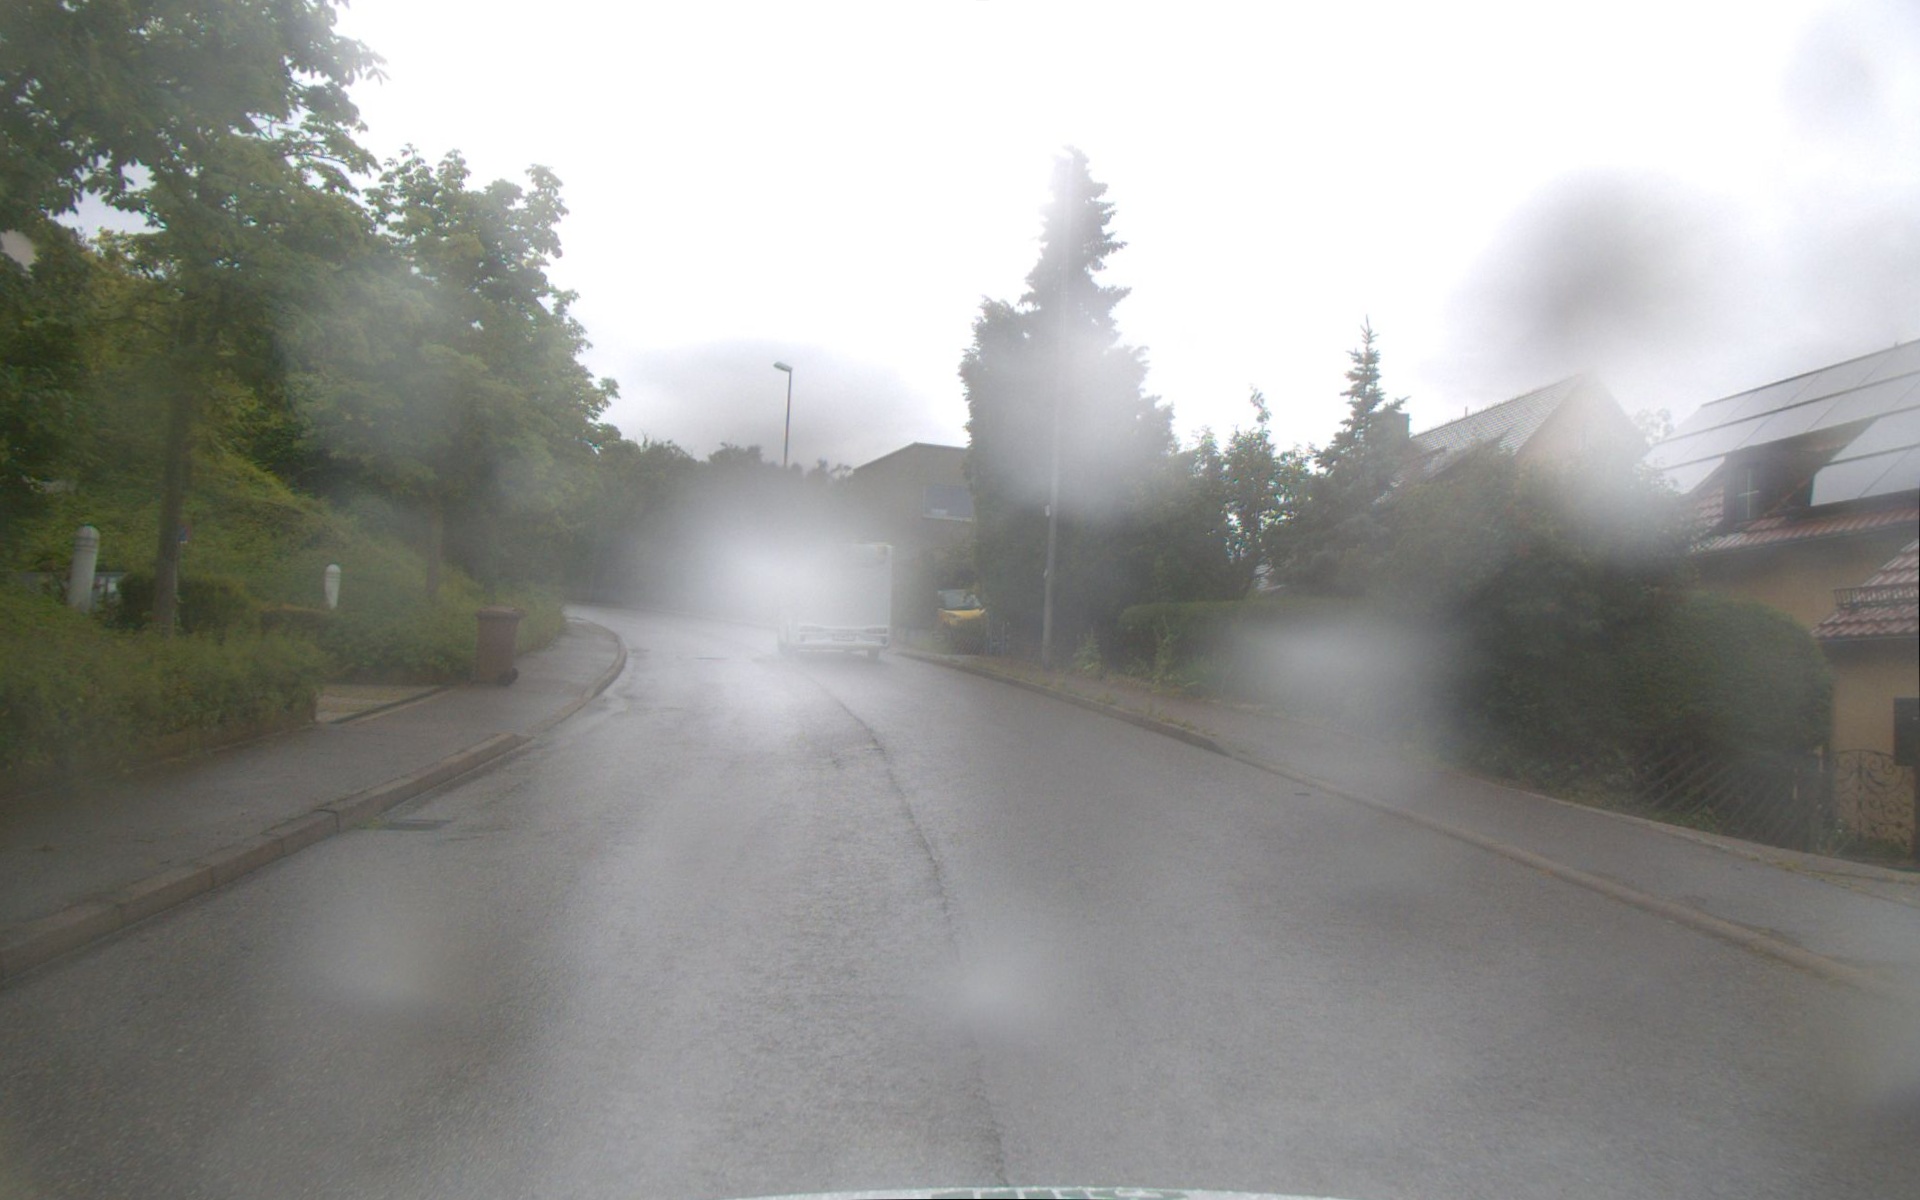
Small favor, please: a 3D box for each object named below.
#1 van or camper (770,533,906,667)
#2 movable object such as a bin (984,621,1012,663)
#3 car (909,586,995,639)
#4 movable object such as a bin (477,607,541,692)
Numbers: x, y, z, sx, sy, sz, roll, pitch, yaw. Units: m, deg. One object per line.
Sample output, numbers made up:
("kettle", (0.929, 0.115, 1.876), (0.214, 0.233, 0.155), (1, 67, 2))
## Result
("van or camper", (-3.080, 0.029, 40.278), (2.495, 2.976, 5.930), (1, -1, -12))
("movable object such as a bin", (0.947, 1.049, 41.278), (0.496, 0.986, 0.592), (5, -1, -14))
("car", (-0.291, 0.390, 53.061), (1.605, 1.519, 3.406), (-4, 1, -21))
("movable object such as a bin", (-6.503, 0.711, 23.902), (0.680, 1.109, 0.803), (4, 3, -4))
